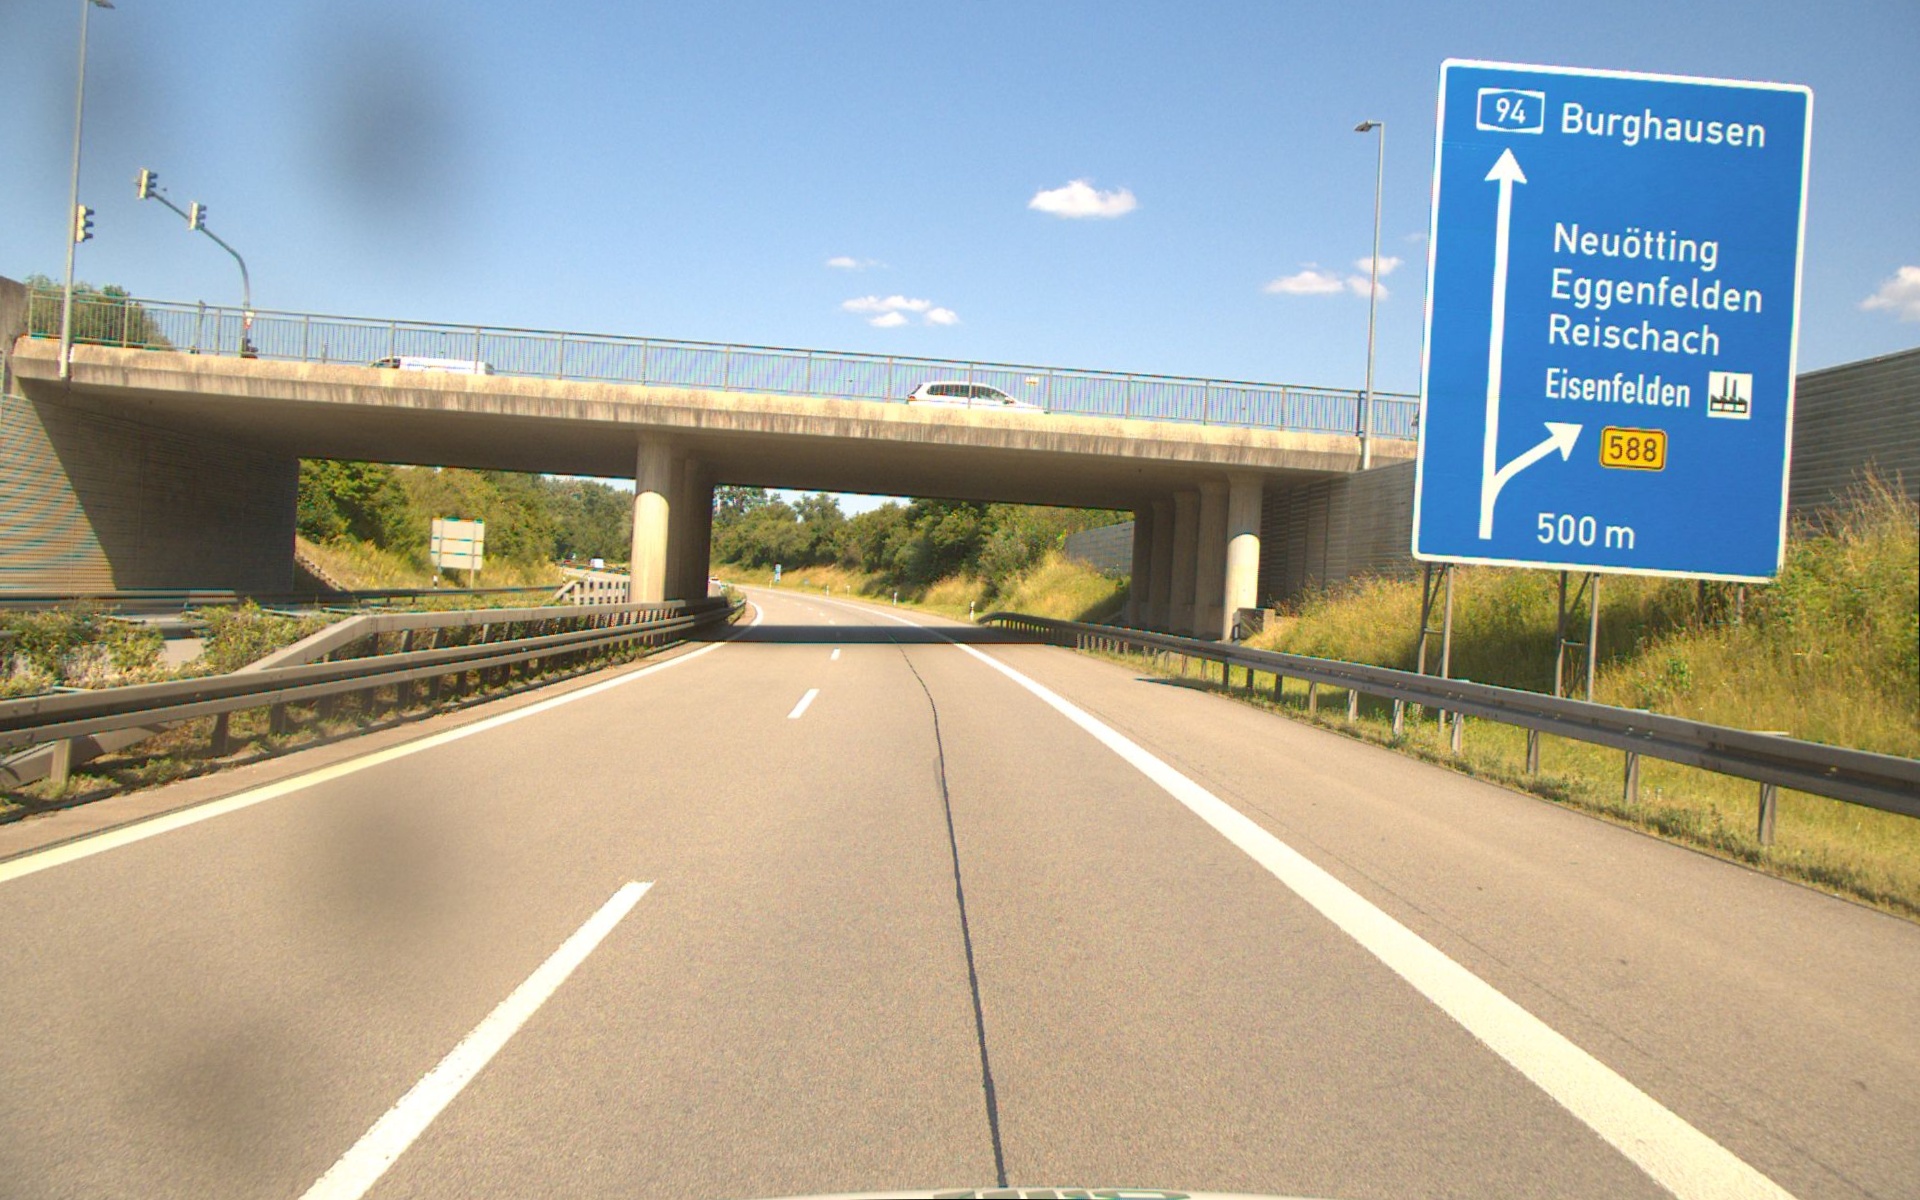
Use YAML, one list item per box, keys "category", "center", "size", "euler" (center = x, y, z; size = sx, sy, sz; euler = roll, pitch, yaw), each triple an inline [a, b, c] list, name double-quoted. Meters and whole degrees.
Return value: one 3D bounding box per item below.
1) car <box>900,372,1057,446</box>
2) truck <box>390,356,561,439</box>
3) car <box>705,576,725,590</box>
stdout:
- category: "car"
  center: [0.504, -5.476, 47.658]
  size: [4.315, 1.625, 1.998]
  euler: [3, -1, -4]
- category: "truck"
  center: [-15.142, -6.338, 51.930]
  size: [4.761, 2.205, 1.998]
  euler: [1, -1, -5]
- category: "car"
  center: [-31.058, -2.128, 209.349]
  size: [2.028, 1.653, 3.983]
  euler: [1, -1, -16]
